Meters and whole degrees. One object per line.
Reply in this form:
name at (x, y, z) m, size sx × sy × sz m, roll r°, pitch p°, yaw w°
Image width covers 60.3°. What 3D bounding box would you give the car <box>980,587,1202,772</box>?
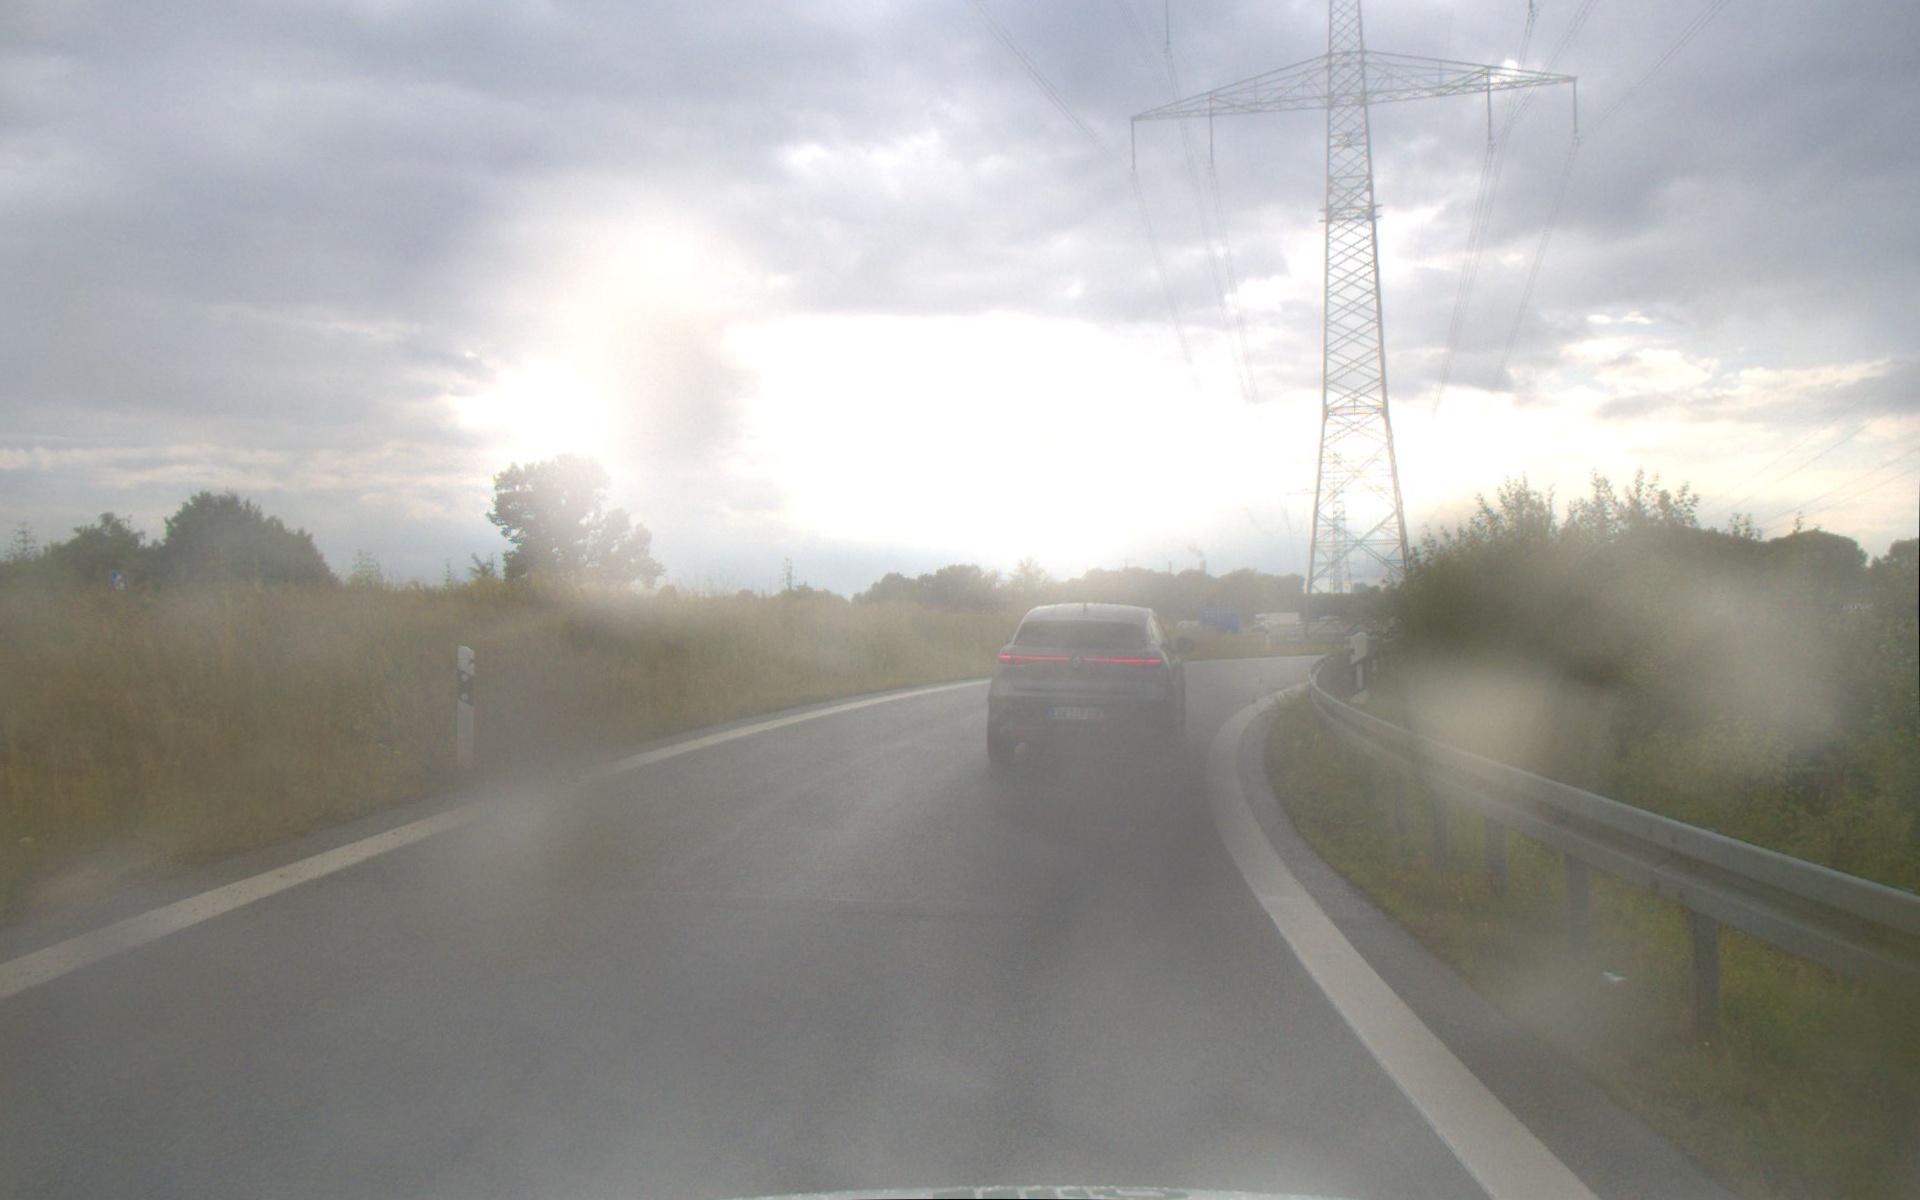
car at (1.481, 0.698, 17.050) m, size 1.951 × 1.593 × 4.152 m, roll 2°, pitch 1°, yaw 8°
